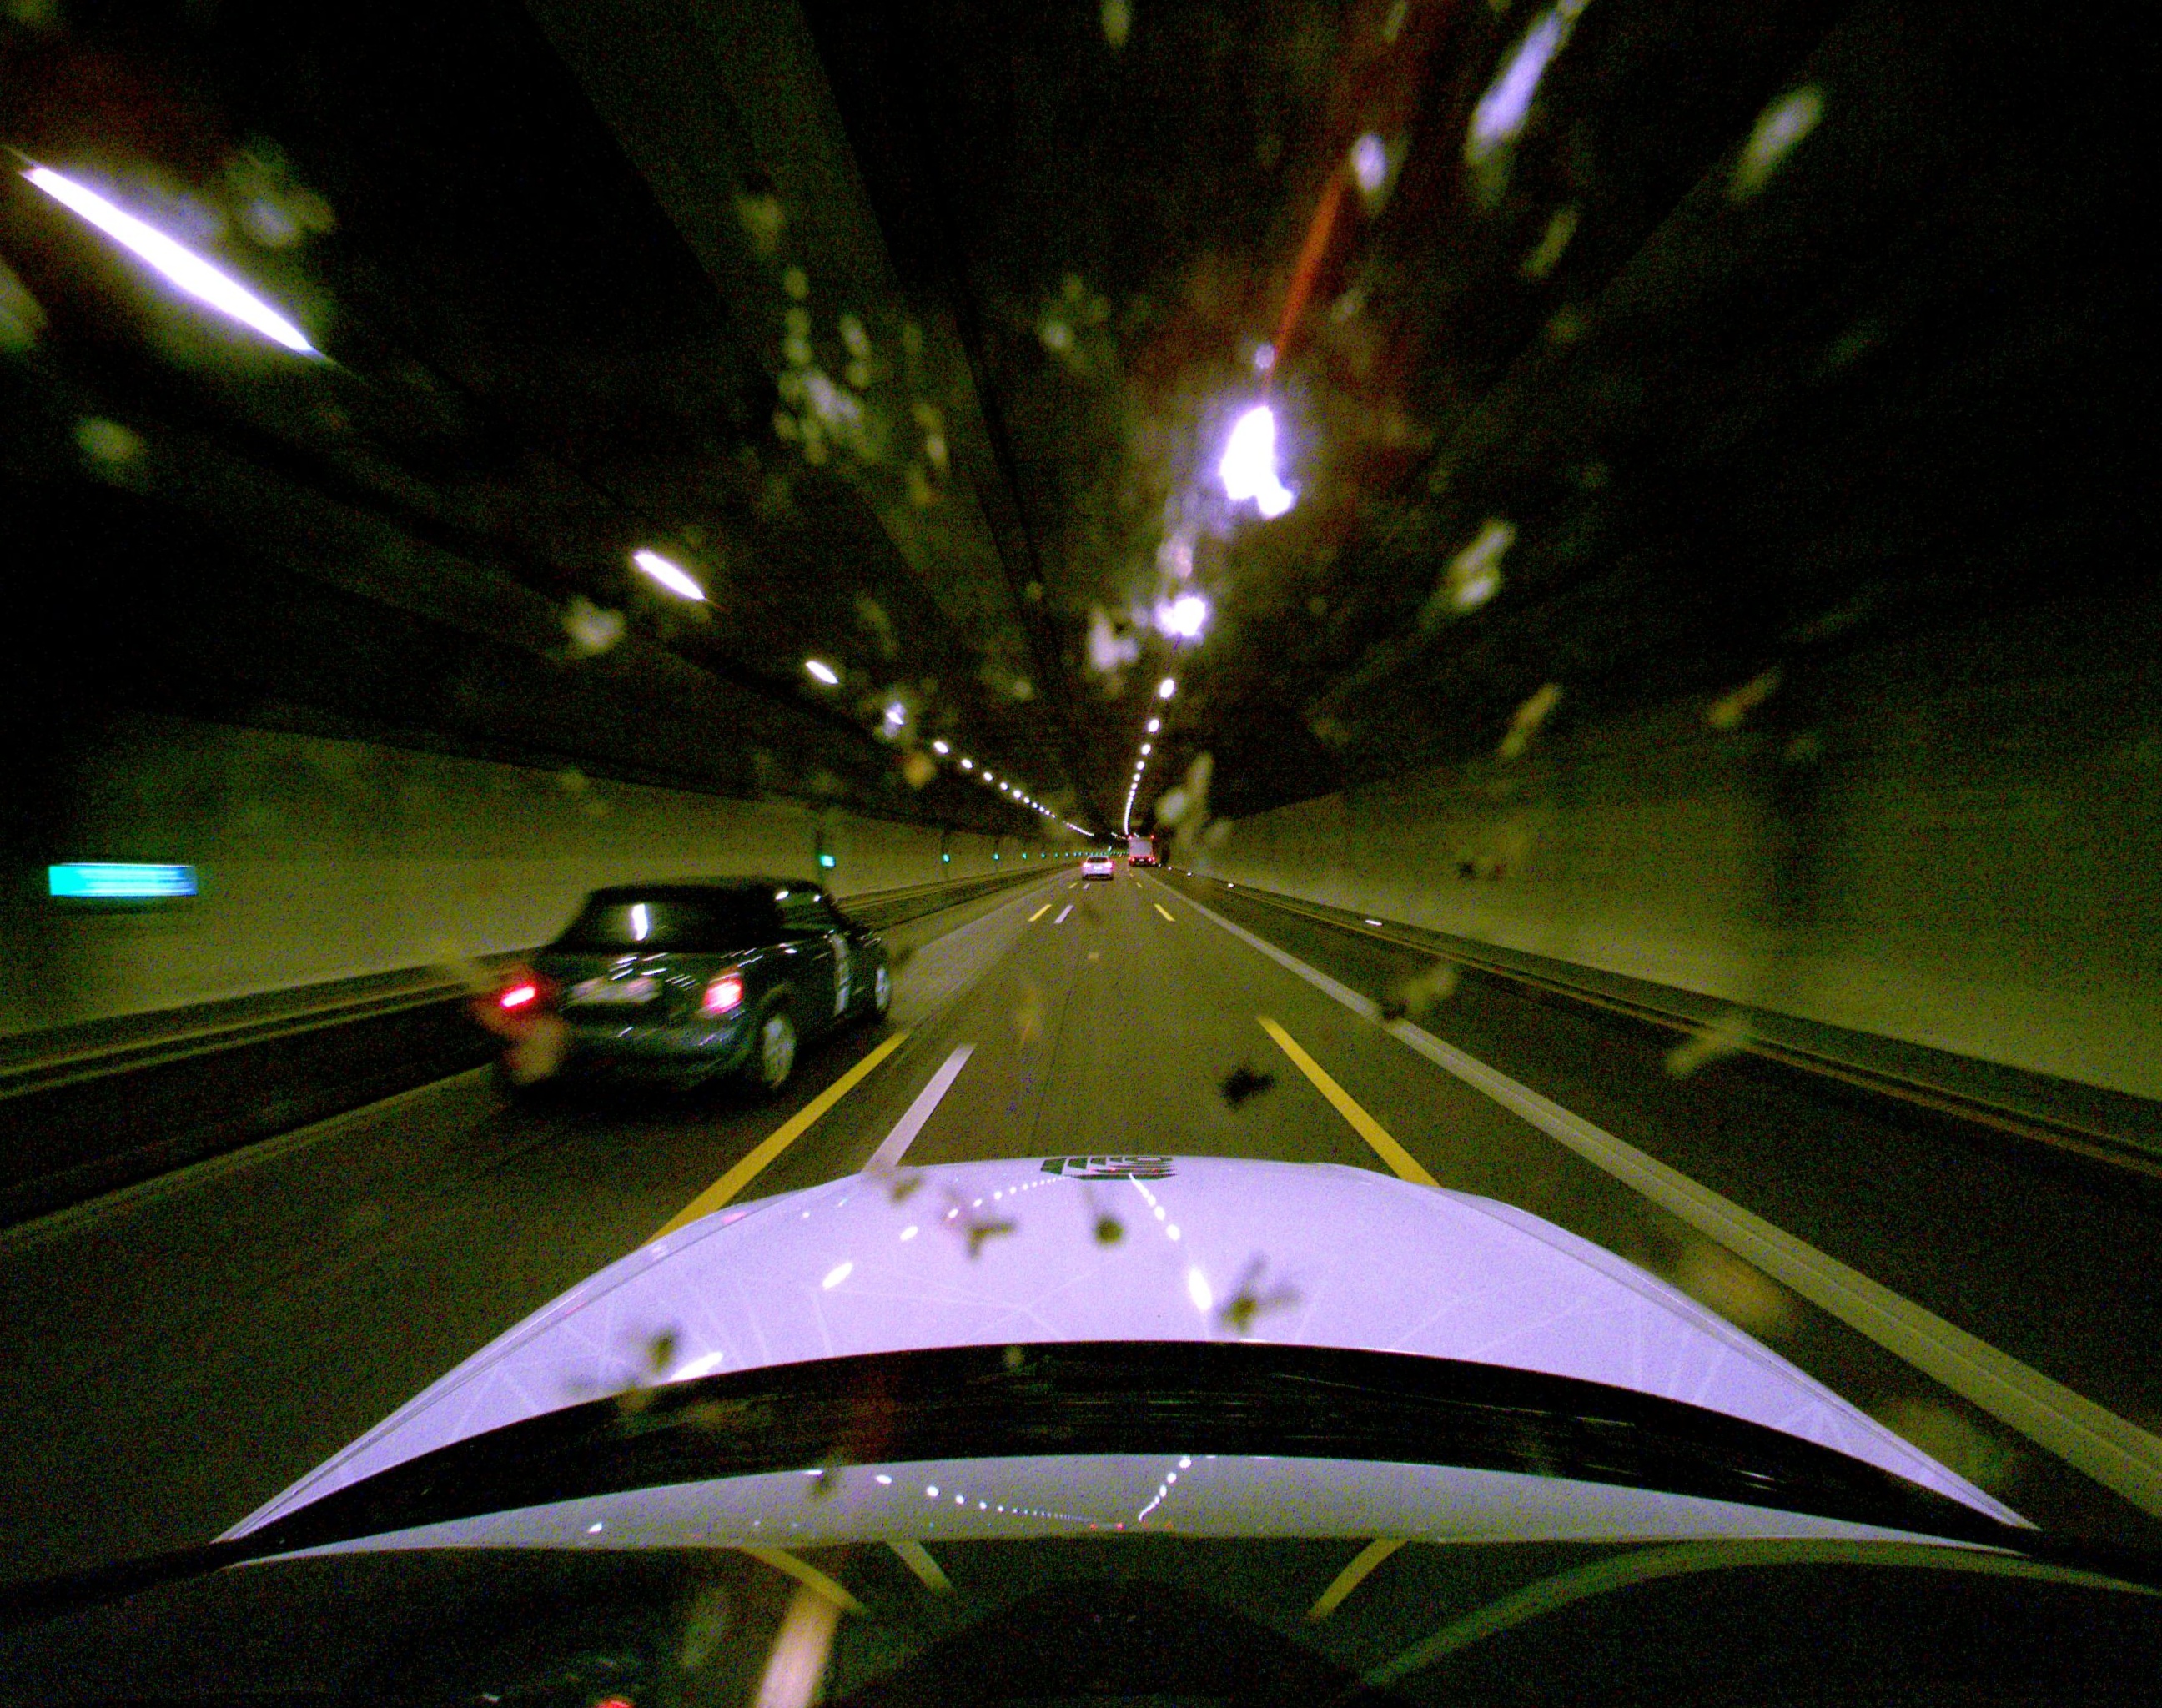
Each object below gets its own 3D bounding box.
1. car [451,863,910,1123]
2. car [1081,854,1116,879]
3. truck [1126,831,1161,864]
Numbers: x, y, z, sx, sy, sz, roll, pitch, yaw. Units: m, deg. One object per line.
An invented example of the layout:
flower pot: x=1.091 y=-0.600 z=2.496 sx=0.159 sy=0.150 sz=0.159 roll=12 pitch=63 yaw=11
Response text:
car: x=-2.693 y=0.814 z=6.592 sx=1.683 sy=1.417 sz=3.924 roll=0 pitch=0 yaw=1
car: x=1.041 y=0.726 z=48.709 sx=1.986 sy=1.413 sz=4.743 roll=-1 pitch=0 yaw=1
truck: x=7.251 y=-0.764 z=95.957 sx=3.580 sy=3.650 sz=10.724 roll=-1 pitch=0 yaw=1
